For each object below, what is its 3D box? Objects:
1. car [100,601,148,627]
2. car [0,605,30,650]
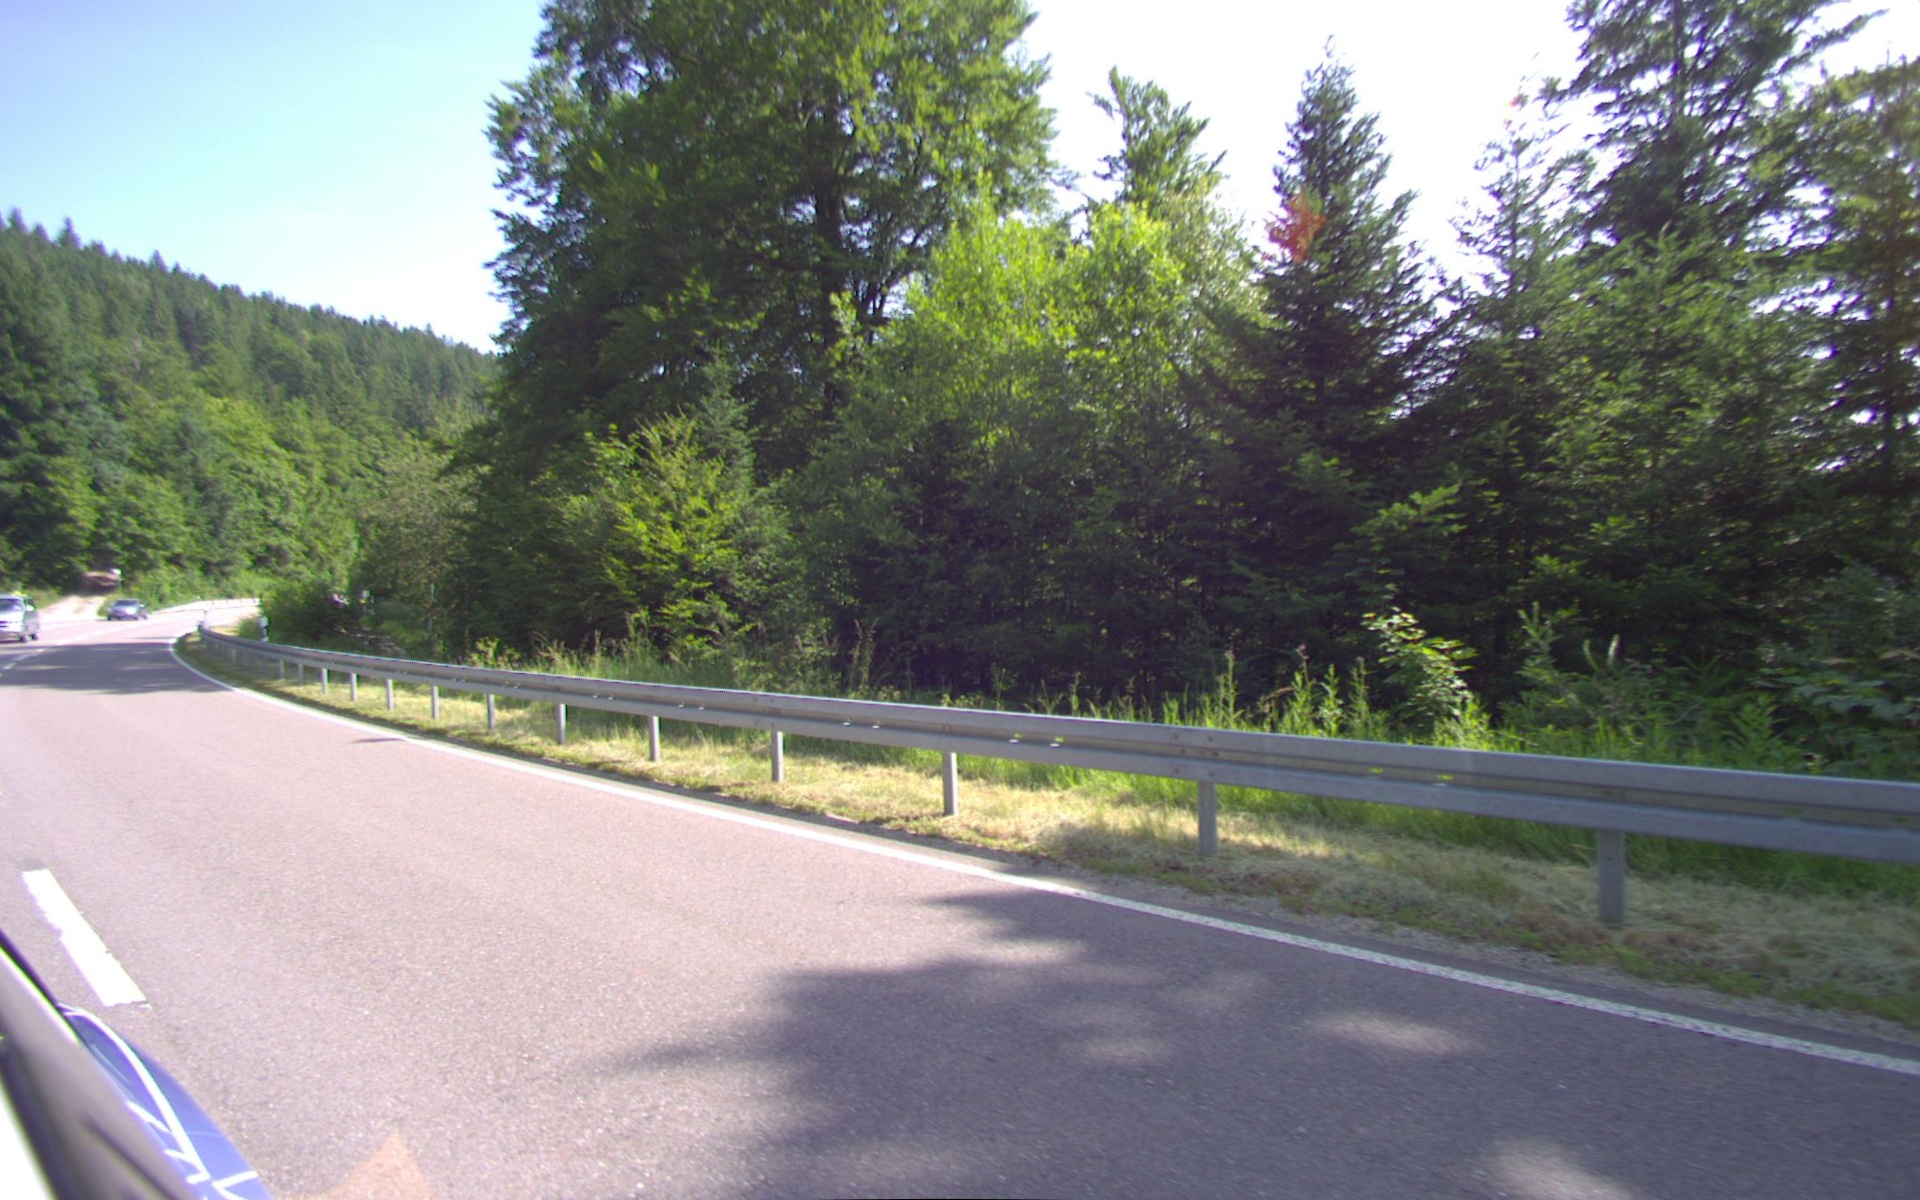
[{"bbox_3d":[-56.780,0.915,68.814,1.966,1.655,4.012,-1,1,-31],"label":"car"},{"bbox_3d":[-38.599,1.076,40.615,1.628,1.773,3.802,0,-1,-39],"label":"car"}]
